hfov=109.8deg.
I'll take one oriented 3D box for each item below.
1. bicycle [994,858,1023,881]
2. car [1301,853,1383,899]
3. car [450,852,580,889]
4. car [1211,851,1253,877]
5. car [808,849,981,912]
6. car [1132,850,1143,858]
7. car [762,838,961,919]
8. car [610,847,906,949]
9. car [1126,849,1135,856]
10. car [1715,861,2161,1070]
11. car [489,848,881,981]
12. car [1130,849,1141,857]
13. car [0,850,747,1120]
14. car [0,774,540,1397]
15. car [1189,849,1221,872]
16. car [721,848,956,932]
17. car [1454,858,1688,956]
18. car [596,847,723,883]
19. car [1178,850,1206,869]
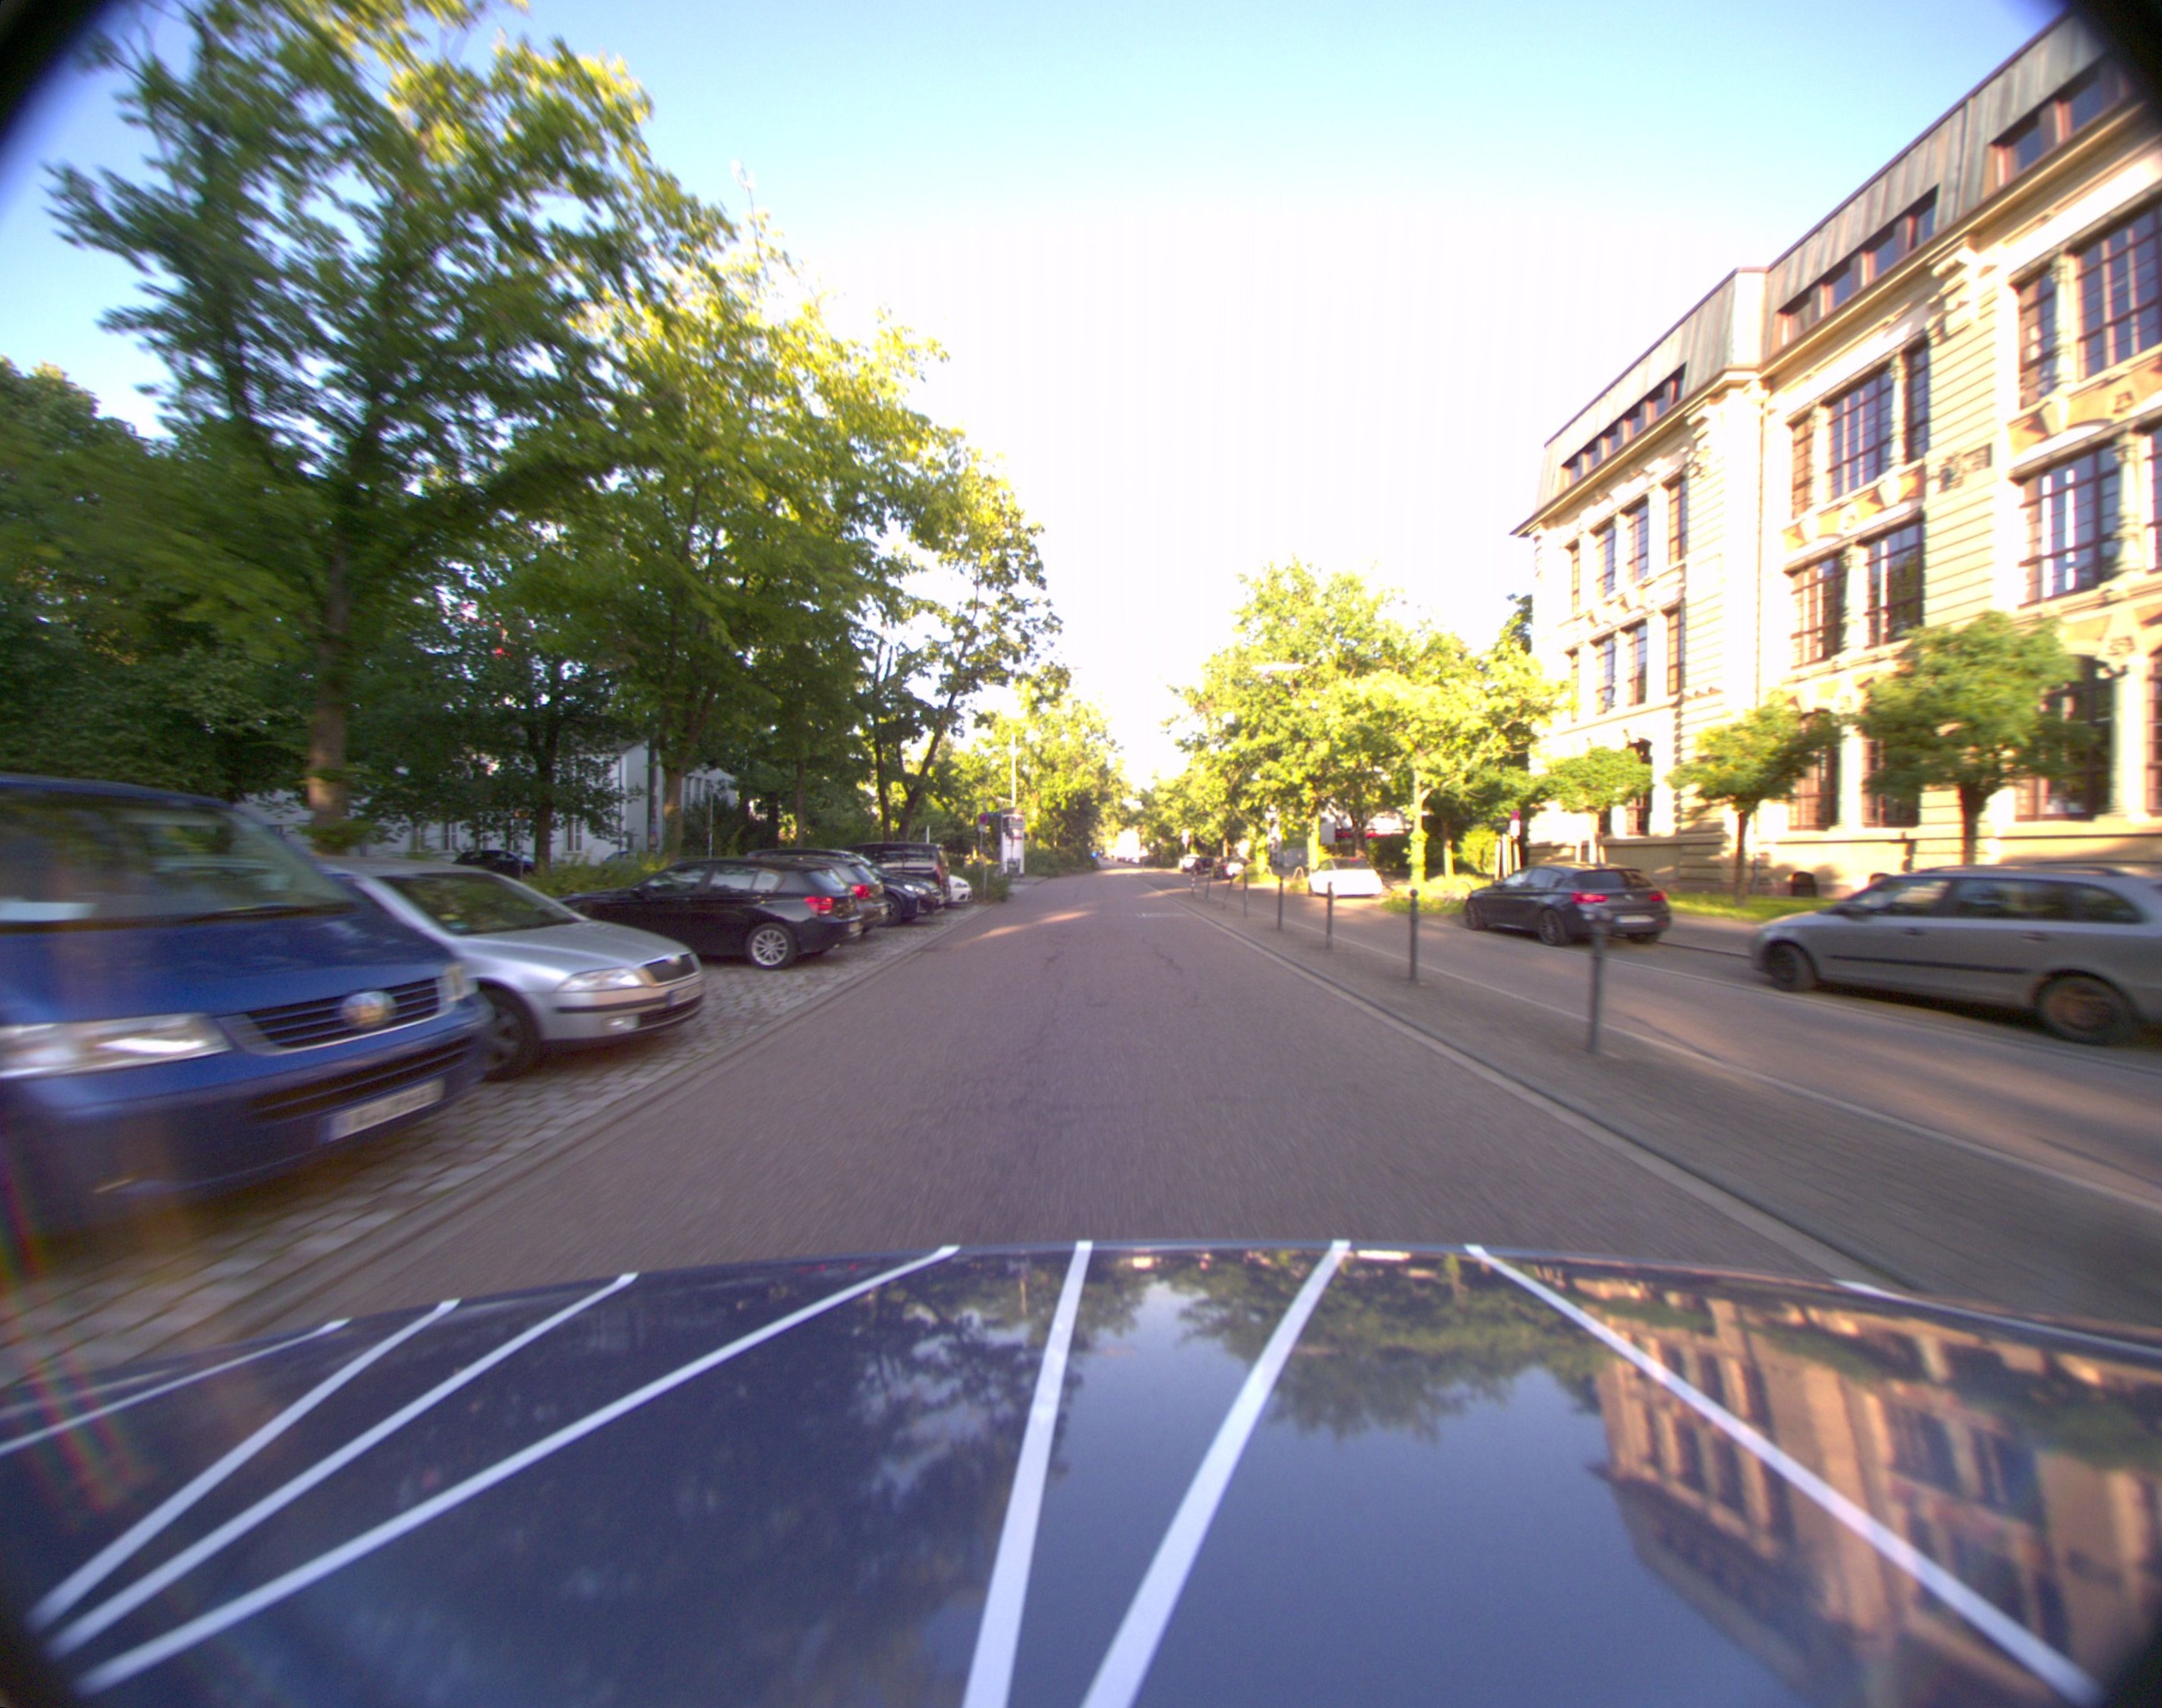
[{"bbox_3d":[-3.764,0.799,39.675,0.492,1.141,2.289,3,0,21],"label":"bicycle"},{"bbox_3d":[9.288,0.728,27.371,1.622,1.487,3.924,-1,1,0],"label":"car"},{"bbox_3d":[-22.975,0.654,30.939,3.997,1.468,1.736,0,1,0],"label":"car"},{"bbox_3d":[9.458,0.598,47.935,1.806,1.502,4.862,-1,1,2],"label":"car"},{"bbox_3d":[-5.136,0.702,21.334,4.374,1.545,1.727,2,1,0],"label":"car"},{"bbox_3d":[10.689,-0.058,144.097,1.776,1.474,4.108,-1,0,1],"label":"car"},{"bbox_3d":[-5.392,0.574,19.085,4.374,1.770,1.920,2,1,0],"label":"car"},{"bbox_3d":[-5.529,0.714,13.443,4.374,1.528,1.920,2,1,0],"label":"car"},{"bbox_3d":[11.330,-0.238,173.882,1.776,1.559,4.108,-1,0,1],"label":"car"},{"bbox_3d":[9.102,0.887,7.571,1.723,1.487,4.375,-2,1,-4],"label":"car"},{"bbox_3d":[-5.226,0.758,10.505,4.374,1.528,1.920,2,1,0],"label":"car"},{"bbox_3d":[10.786,-0.170,150.226,1.776,1.559,4.108,-1,0,1],"label":"car"},{"bbox_3d":[-5.460,0.834,5.779,4.939,1.545,1.916,2,1,0],"label":"car"},{"bbox_3d":[-5.470,0.628,3.268,4.864,1.905,1.916,2,1,0],"label":"car"},{"bbox_3d":[9.497,0.475,58.469,1.784,1.607,4.146,-1,1,0],"label":"car"},{"bbox_3d":[-5.033,0.712,16.222,4.374,1.545,1.876,2,1,0],"label":"car"},{"bbox_3d":[8.927,0.863,14.374,1.622,1.487,4.377,-1,1,0],"label":"car"},{"bbox_3d":[-17.147,0.421,31.017,4.149,1.434,1.835,0,1,0],"label":"car"},{"bbox_3d":[9.711,0.440,66.763,1.808,1.607,4.146,0,1,0],"label":"car"}]
